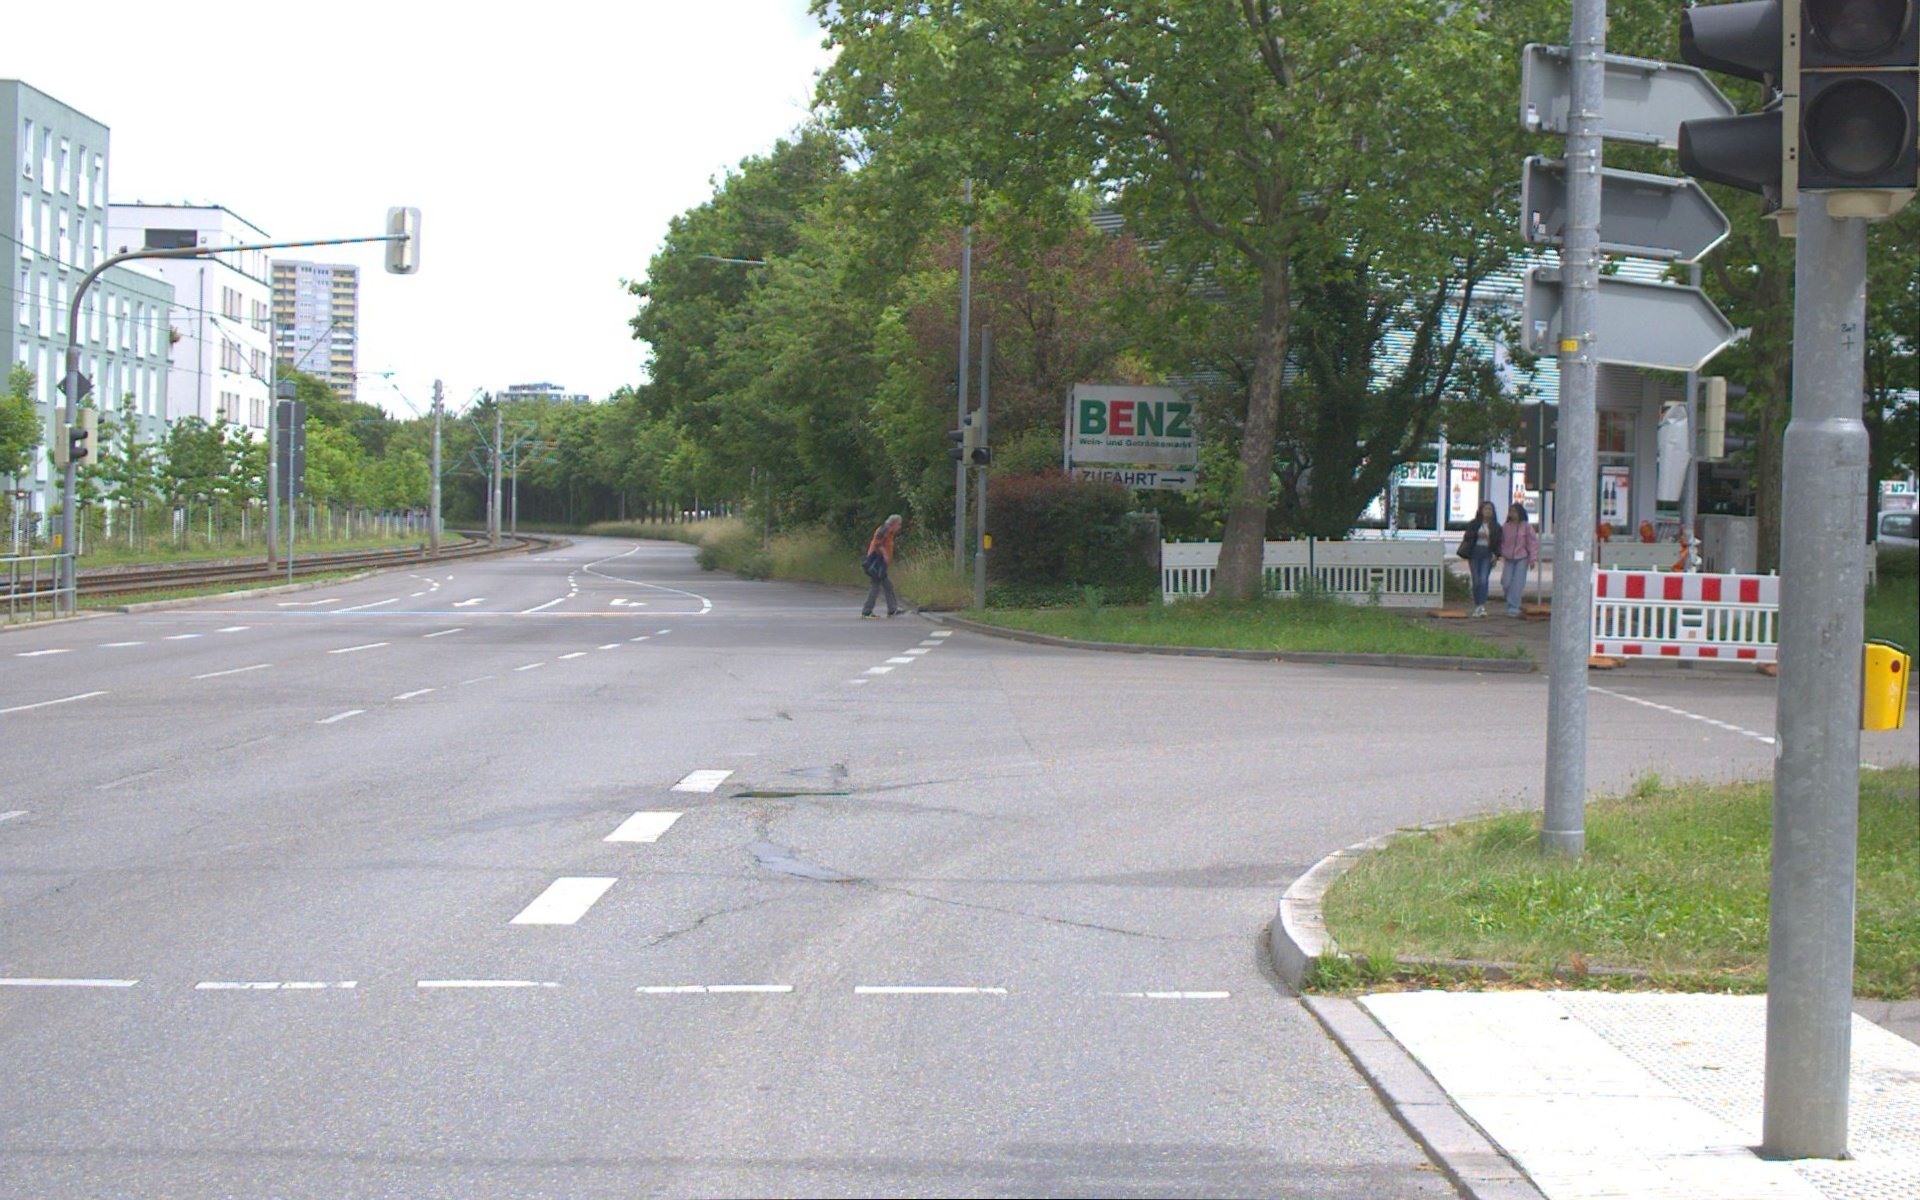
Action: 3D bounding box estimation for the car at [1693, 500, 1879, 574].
[{"bbox_3d":[16.850,-1.274,70.188,3.396,1.440,1.485,1,0,-18],"label":"car"}]

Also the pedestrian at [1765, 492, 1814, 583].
[{"bbox_3d":[18.425,-1.384,76.391,0.804,1.995,0.853,1,0,-5],"label":"pedestrian"}]

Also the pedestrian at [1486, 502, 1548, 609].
[{"bbox_3d":[7.799,-0.623,48.135,0.686,1.484,0.698,1,0,24],"label":"pedestrian"}]

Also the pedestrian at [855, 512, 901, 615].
[{"bbox_3d":[-1.233,-0.548,51.886,0.653,1.533,0.773,1,0,0],"label":"pedestrian"}]

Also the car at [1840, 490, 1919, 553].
[{"bbox_3d":[21.824,-1.781,78.221,1.480,1.399,3.409,1,1,-31],"label":"car"}]

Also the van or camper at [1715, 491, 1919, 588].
[{"bbox_3d":[15.665,-1.114,61.999,1.840,1.678,4.001,-1,2,-28],"label":"van or camper"}]

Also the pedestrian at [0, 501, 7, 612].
[{"bbox_3d":[-14.123,-0.619,48.806,0.794,1.581,0.850,1,0,17],"label":"pedestrian"}]

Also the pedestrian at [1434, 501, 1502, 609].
[{"bbox_3d":[7.051,-0.620,47.703,0.719,1.484,0.698,1,0,29],"label":"pedestrian"}]
